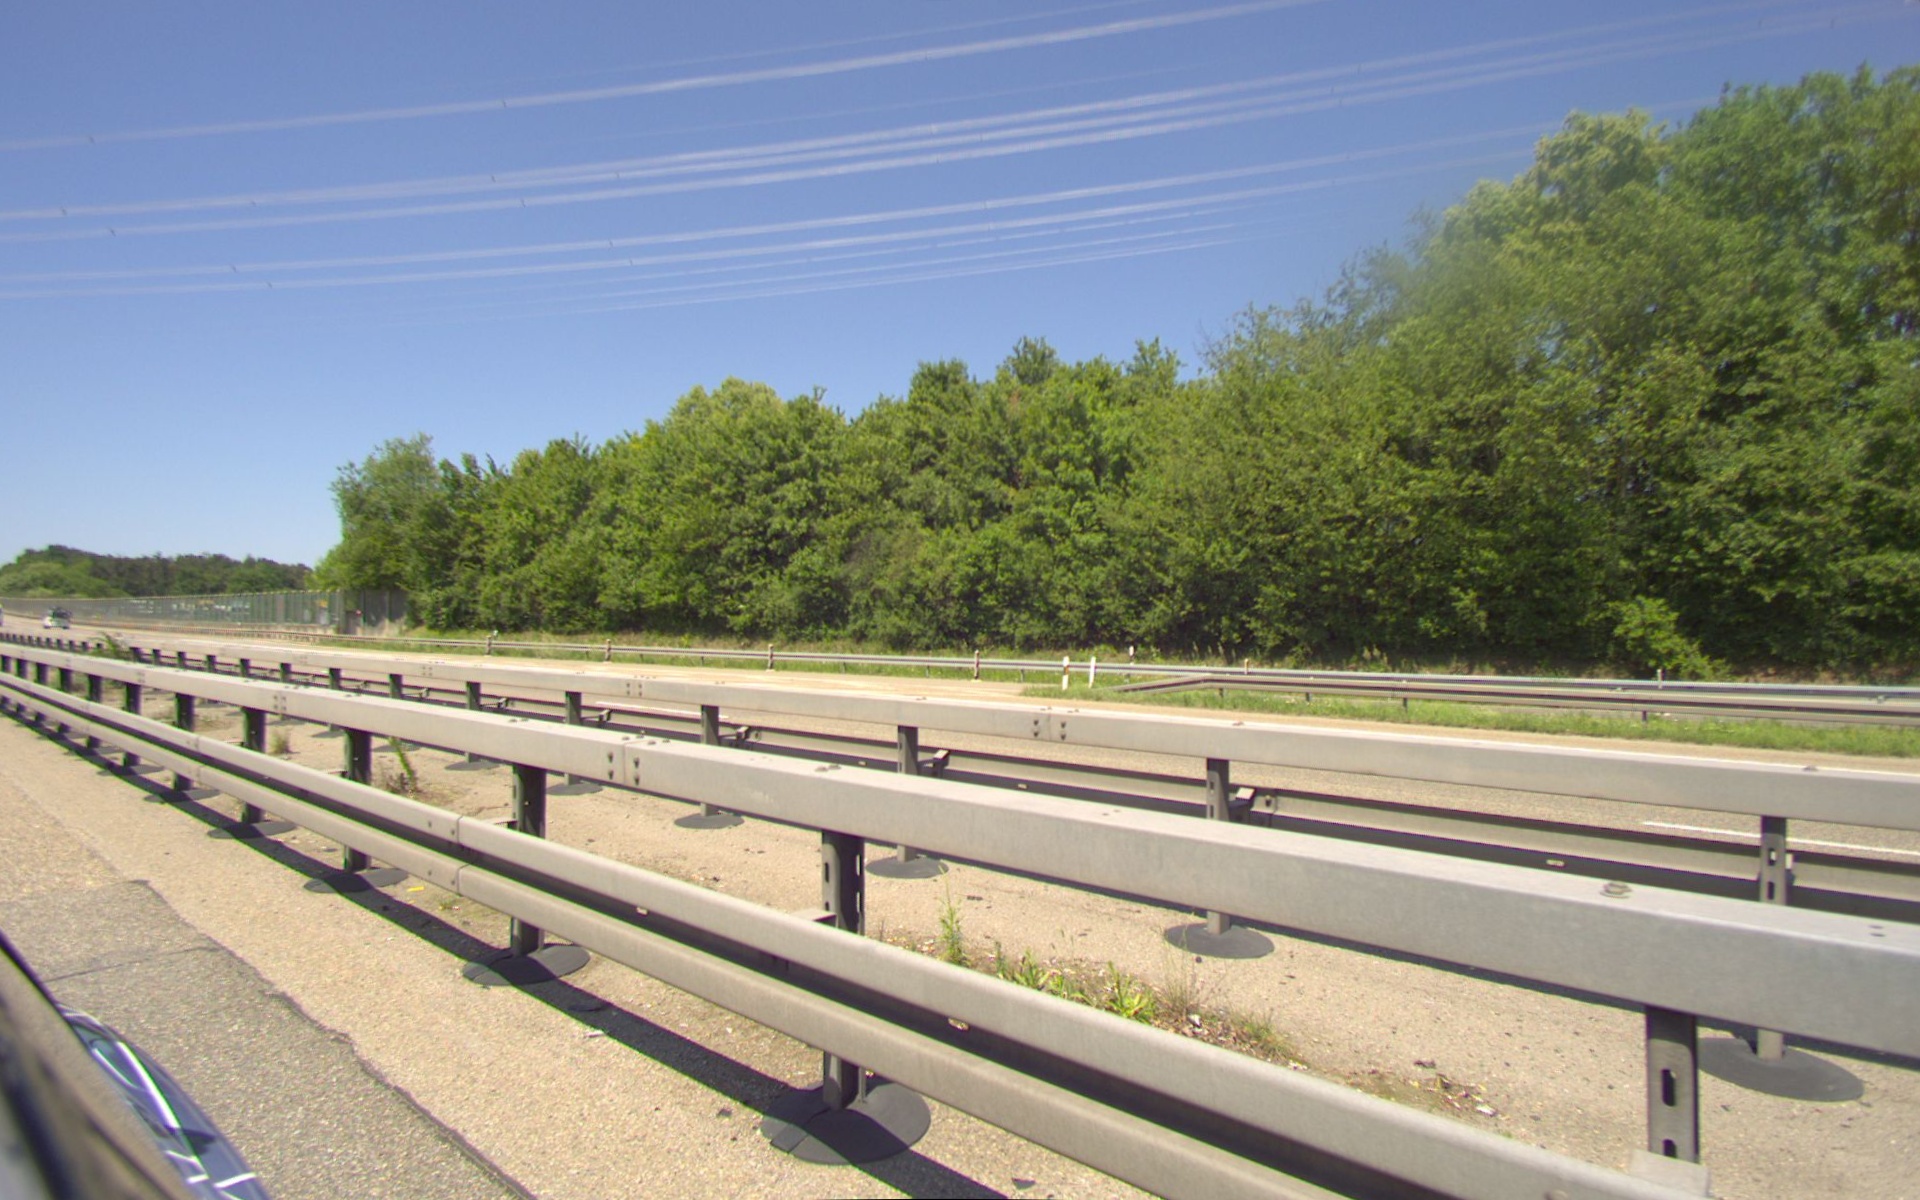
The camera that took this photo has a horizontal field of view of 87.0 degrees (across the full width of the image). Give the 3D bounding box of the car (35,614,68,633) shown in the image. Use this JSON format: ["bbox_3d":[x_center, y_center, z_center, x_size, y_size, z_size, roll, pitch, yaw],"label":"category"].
[{"bbox_3d":[-99.111,2.602,110.440,5.488,1.919,1.846,0,-2,40],"label":"car"}]
